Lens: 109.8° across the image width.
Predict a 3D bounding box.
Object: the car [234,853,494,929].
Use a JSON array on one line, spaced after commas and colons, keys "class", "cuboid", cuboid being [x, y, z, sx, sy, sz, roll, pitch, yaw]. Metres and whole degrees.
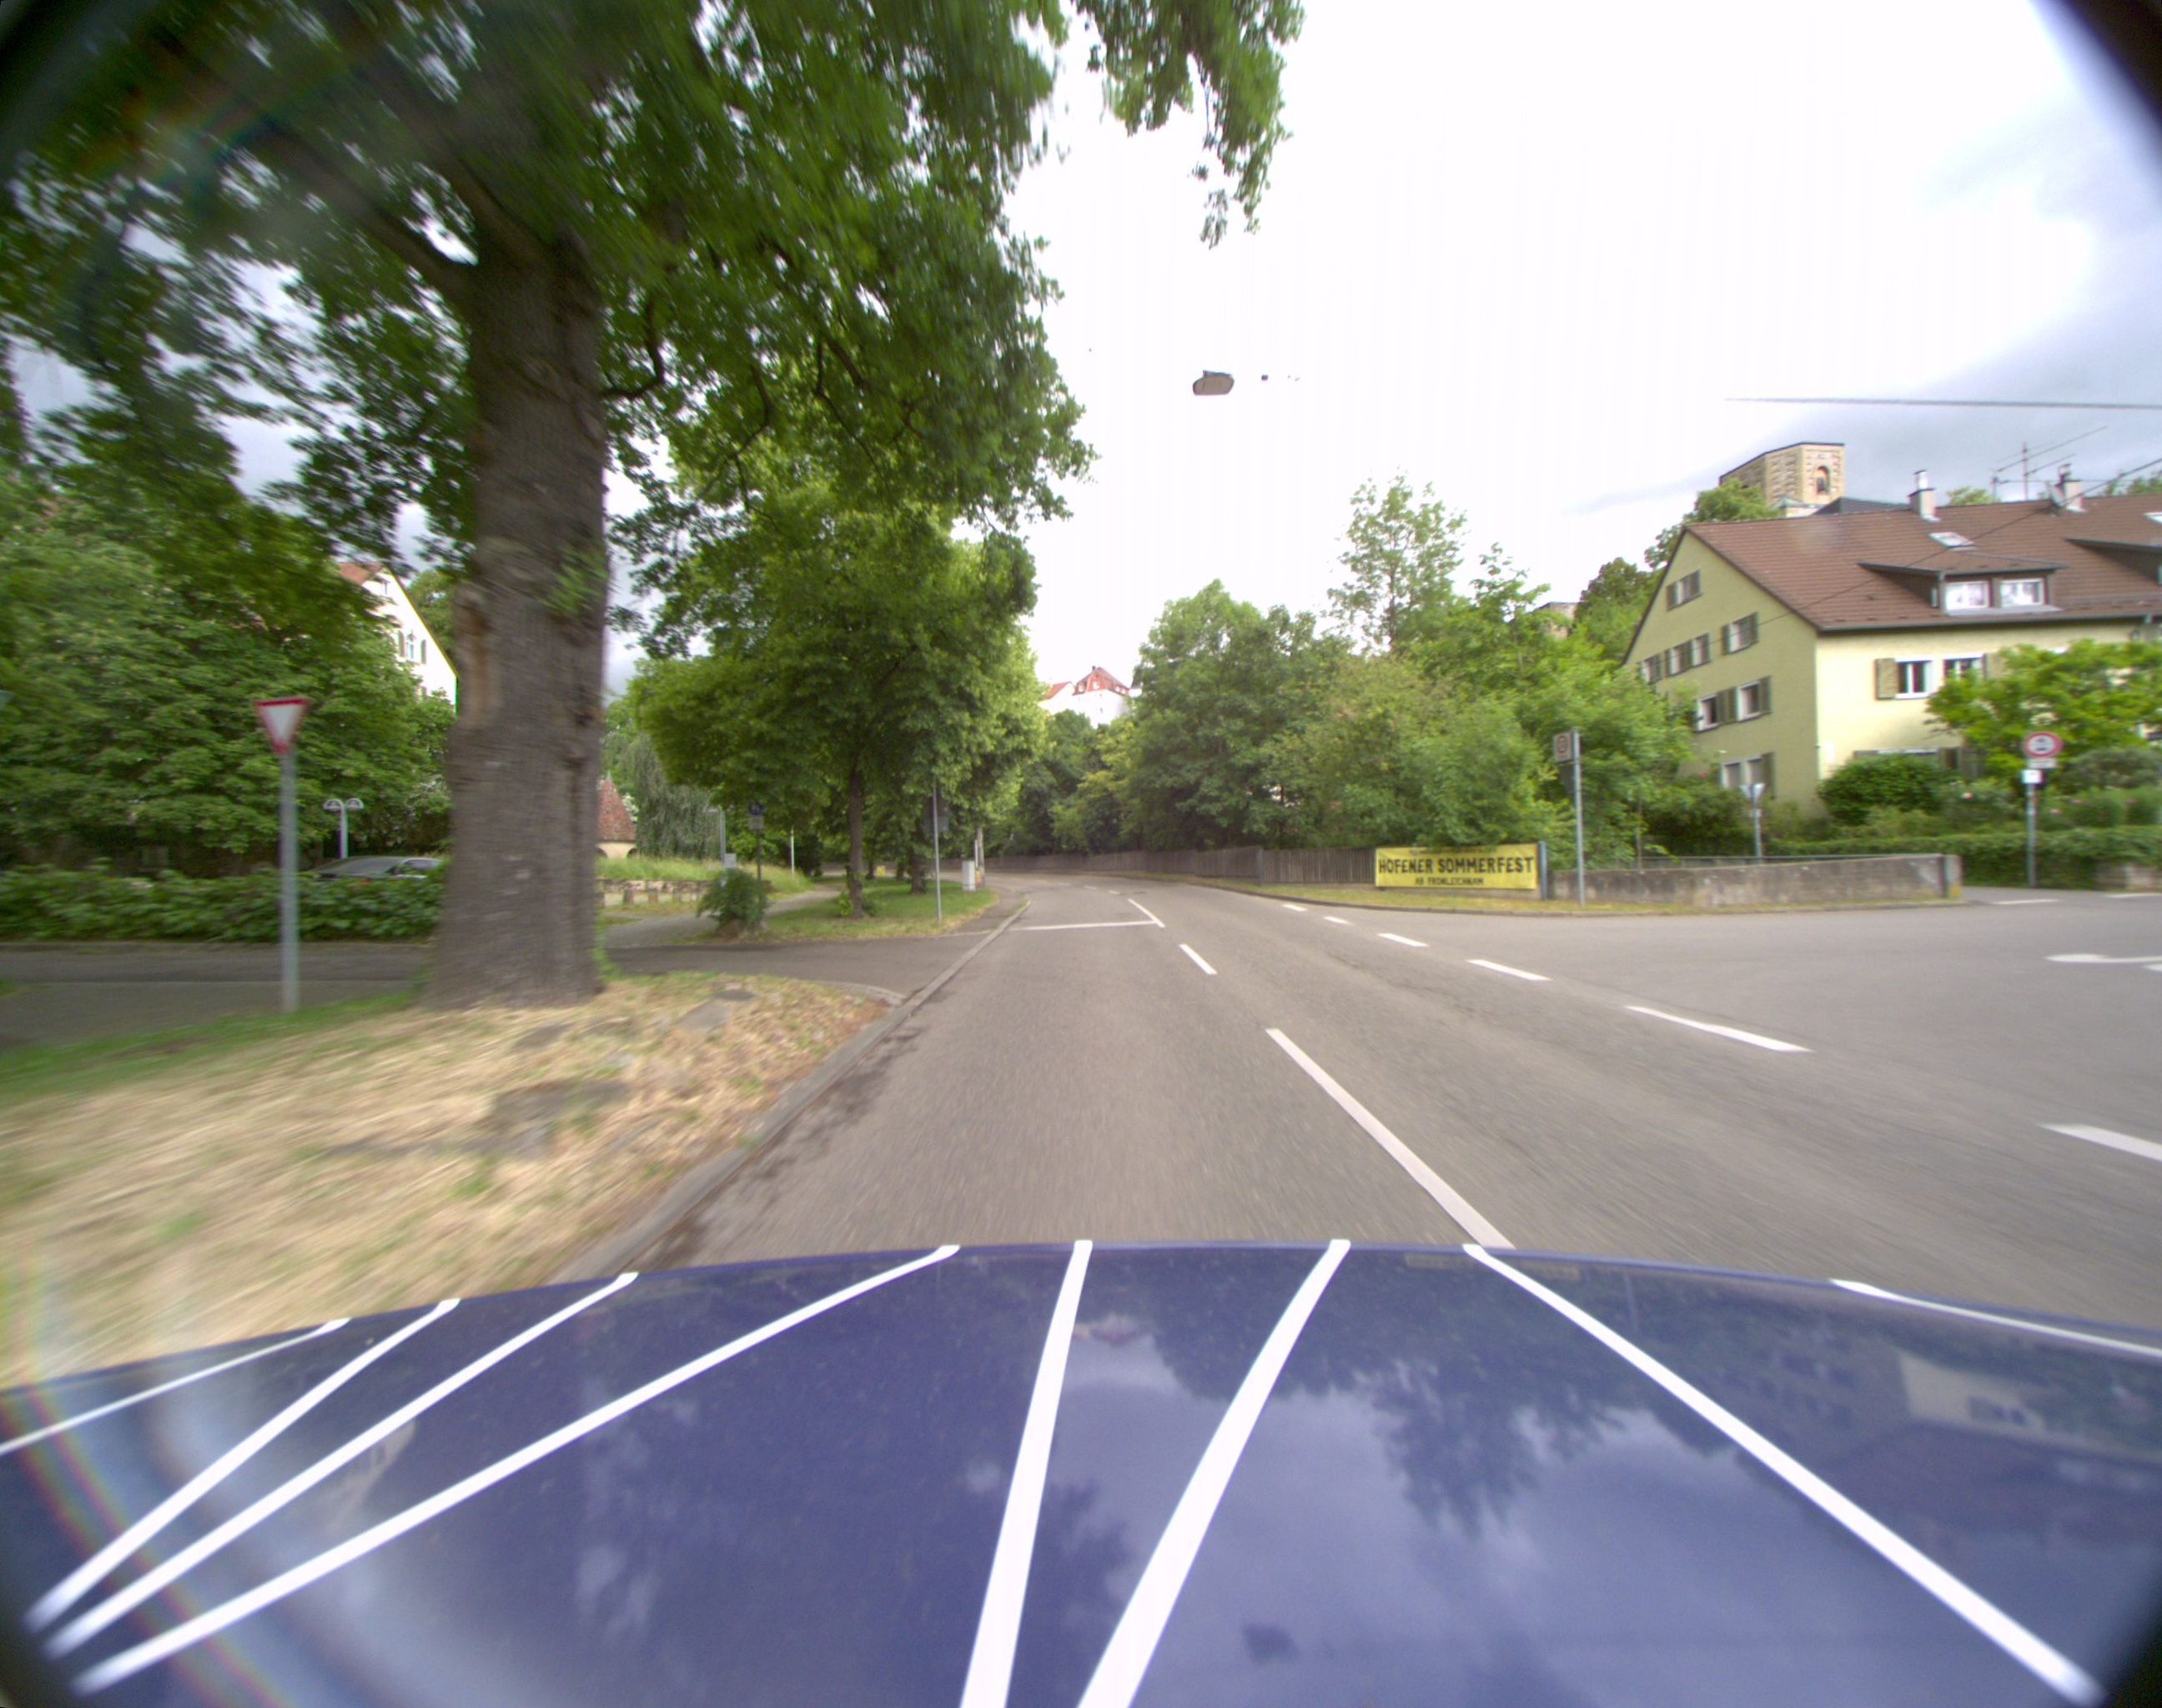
[{"class": "car", "cuboid": [-15.362, 0.805, 16.705, 1.913, 1.422, 4.465, 1, -2, -8]}]
